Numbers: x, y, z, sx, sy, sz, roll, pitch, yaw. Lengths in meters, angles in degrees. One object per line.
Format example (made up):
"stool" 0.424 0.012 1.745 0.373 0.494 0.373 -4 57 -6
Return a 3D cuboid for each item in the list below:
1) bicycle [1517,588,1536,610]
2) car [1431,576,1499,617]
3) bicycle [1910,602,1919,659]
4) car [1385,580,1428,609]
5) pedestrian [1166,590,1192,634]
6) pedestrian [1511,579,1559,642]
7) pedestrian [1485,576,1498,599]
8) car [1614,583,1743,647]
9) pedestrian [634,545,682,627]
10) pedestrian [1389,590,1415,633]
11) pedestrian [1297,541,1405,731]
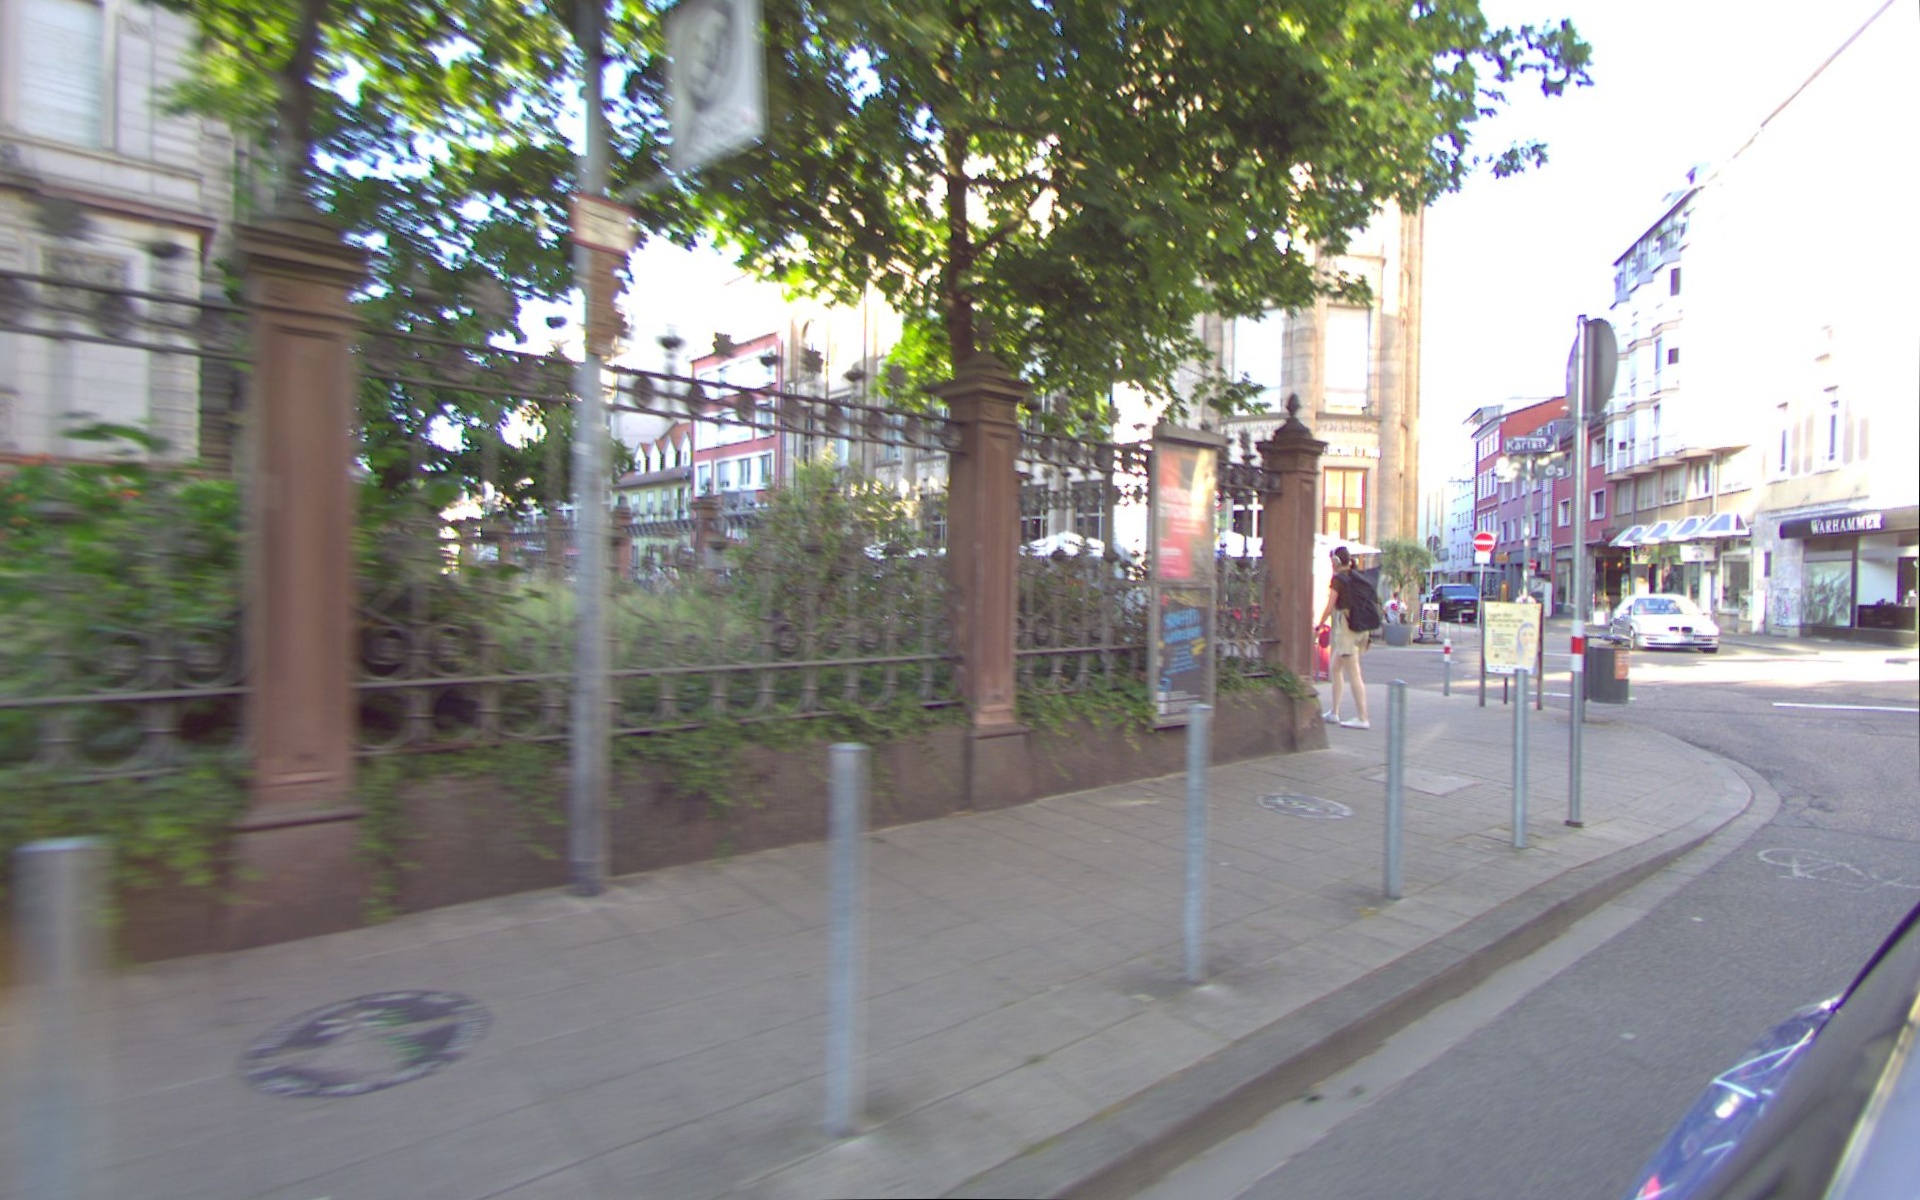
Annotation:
"bicycle" 32.113 -0.053 57.416 0.538 1.207 1.832 0 1 17
"car" 23.425 -0.197 47.127 1.972 1.805 4.909 1 1 16
"bicycle" 19.414 0.633 19.670 0.657 1.152 1.812 0 1 18
"car" 27.249 -0.342 61.908 1.753 1.687 3.982 1 1 15
"pedestrian" 6.306 0.338 29.114 0.675 1.261 0.599 0 0 9
"pedestrian" 15.288 0.265 26.914 0.788 1.633 0.736 0 1 -11
"pedestrian" 35.286 -0.820 67.152 0.602 1.491 0.546 0 1 10
"car" 17.906 0.298 25.428 1.981 1.440 4.417 1 1 27
"pedestrian" -6.364 -0.292 21.340 0.701 1.691 0.634 1 -1 35
"pedestrian" 12.448 0.313 28.474 0.602 1.203 0.813 1 0 28
"pedestrian" 3.736 0.322 9.728 0.624 1.744 0.846 0 1 -6
